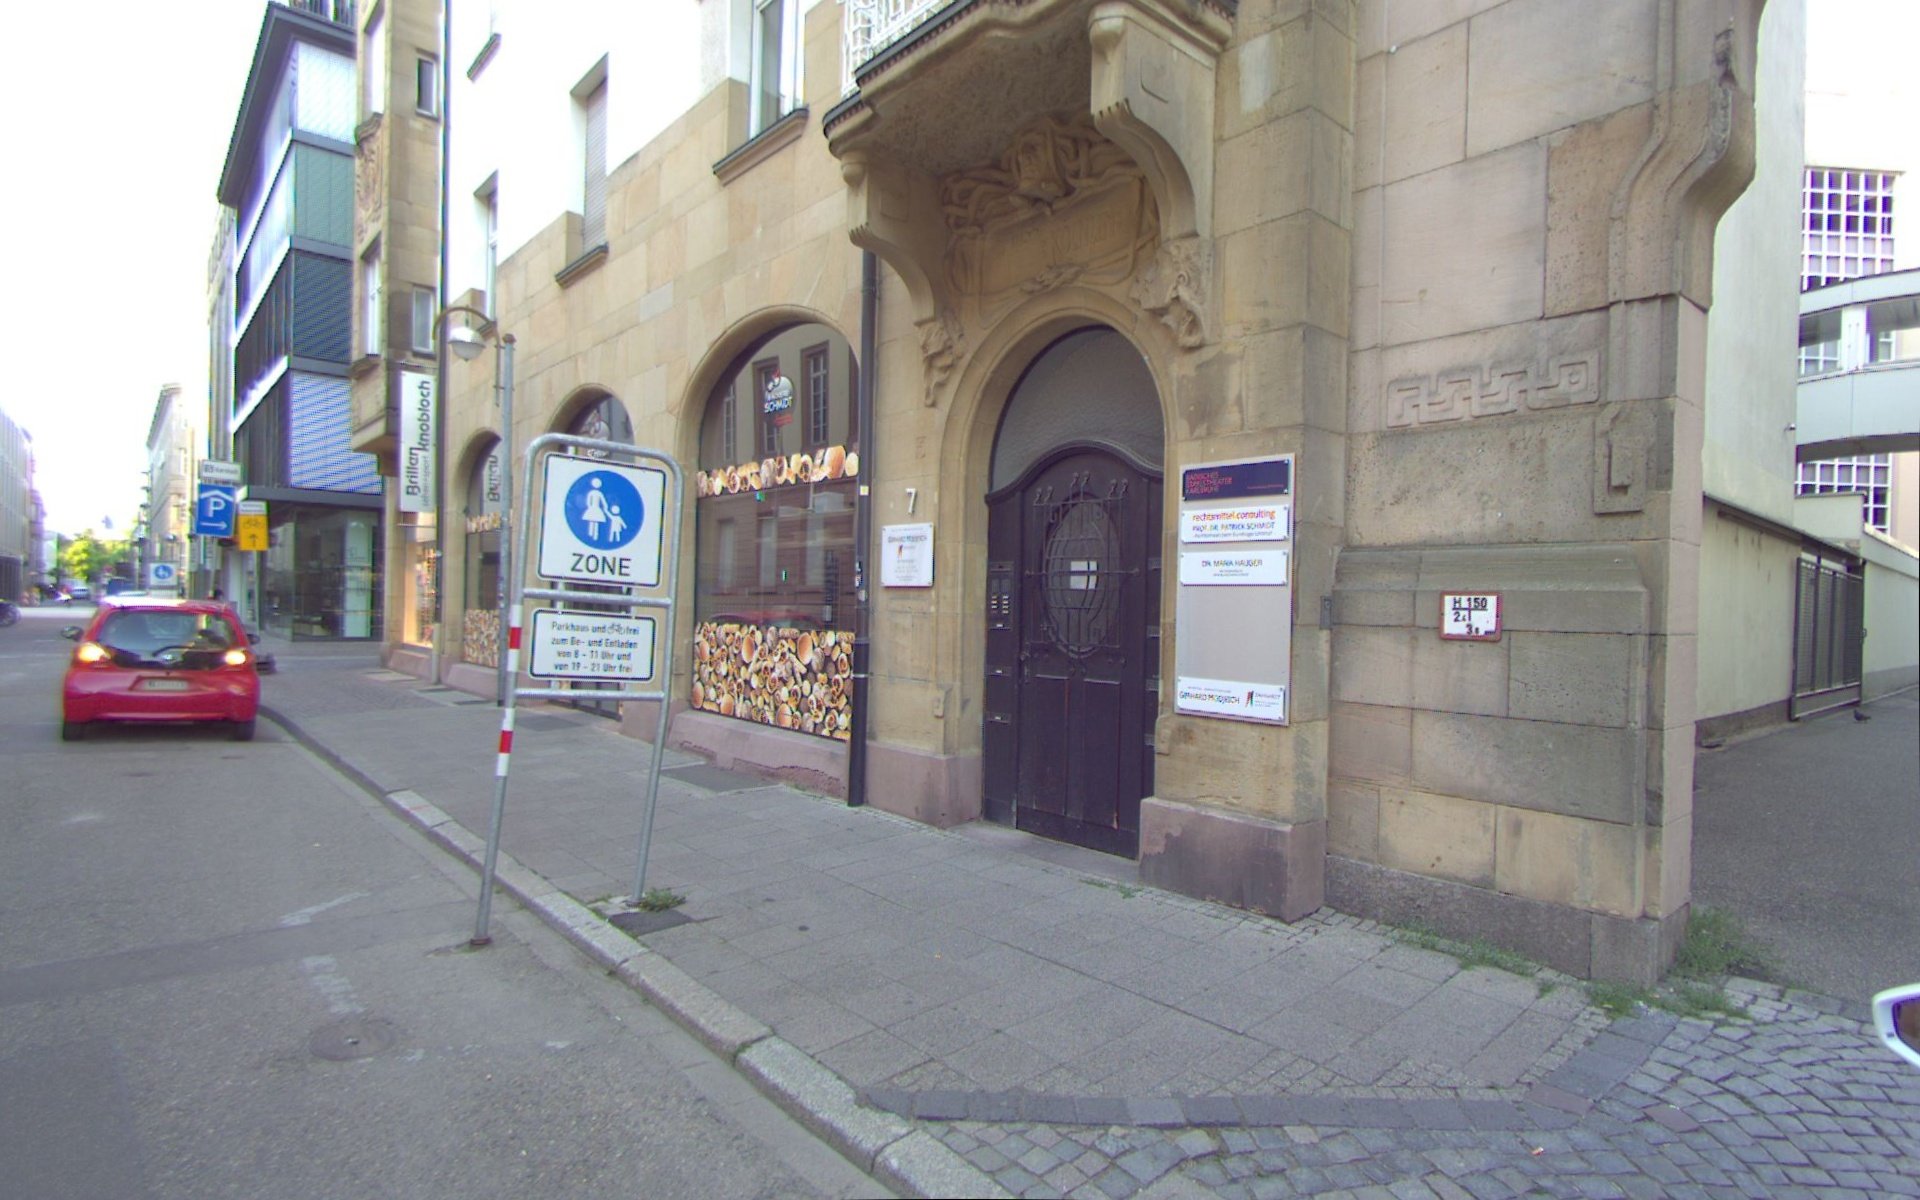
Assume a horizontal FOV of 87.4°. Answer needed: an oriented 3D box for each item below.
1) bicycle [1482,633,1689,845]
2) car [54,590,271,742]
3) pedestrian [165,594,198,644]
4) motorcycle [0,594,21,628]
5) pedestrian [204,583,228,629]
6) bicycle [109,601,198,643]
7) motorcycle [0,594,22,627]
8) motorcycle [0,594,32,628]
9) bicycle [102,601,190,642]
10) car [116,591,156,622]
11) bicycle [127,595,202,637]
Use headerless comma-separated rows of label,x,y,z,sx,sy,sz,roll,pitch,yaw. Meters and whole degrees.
bicycle,3.834,0.757,6.094,1.743,1.094,0.589,1,0,-42
car,-8.989,0.680,11.354,1.626,1.460,3.120,5,-3,-40
pedestrian,-26.949,0.667,34.779,0.806,1.693,0.919,2,-1,-42
motorcycle,-37.792,0.415,38.788,2.176,1.299,0.644,3,-1,-39
pedestrian,-27.794,0.224,37.519,0.665,1.693,0.755,2,-1,-39
bicycle,-22.610,0.607,28.189,1.938,1.145,0.613,0,0,-40
motorcycle,-39.589,0.404,40.731,2.176,1.299,0.644,3,-1,-39
motorcycle,-38.197,0.419,39.686,2.176,1.299,0.644,3,-1,-39
bicycle,-23.374,0.596,28.869,1.938,1.145,0.613,0,0,-40
car,-39.827,0.314,48.522,1.416,1.436,3.848,0,0,-41
bicycle,-21.731,0.428,27.471,1.595,1.133,0.613,0,0,-40
